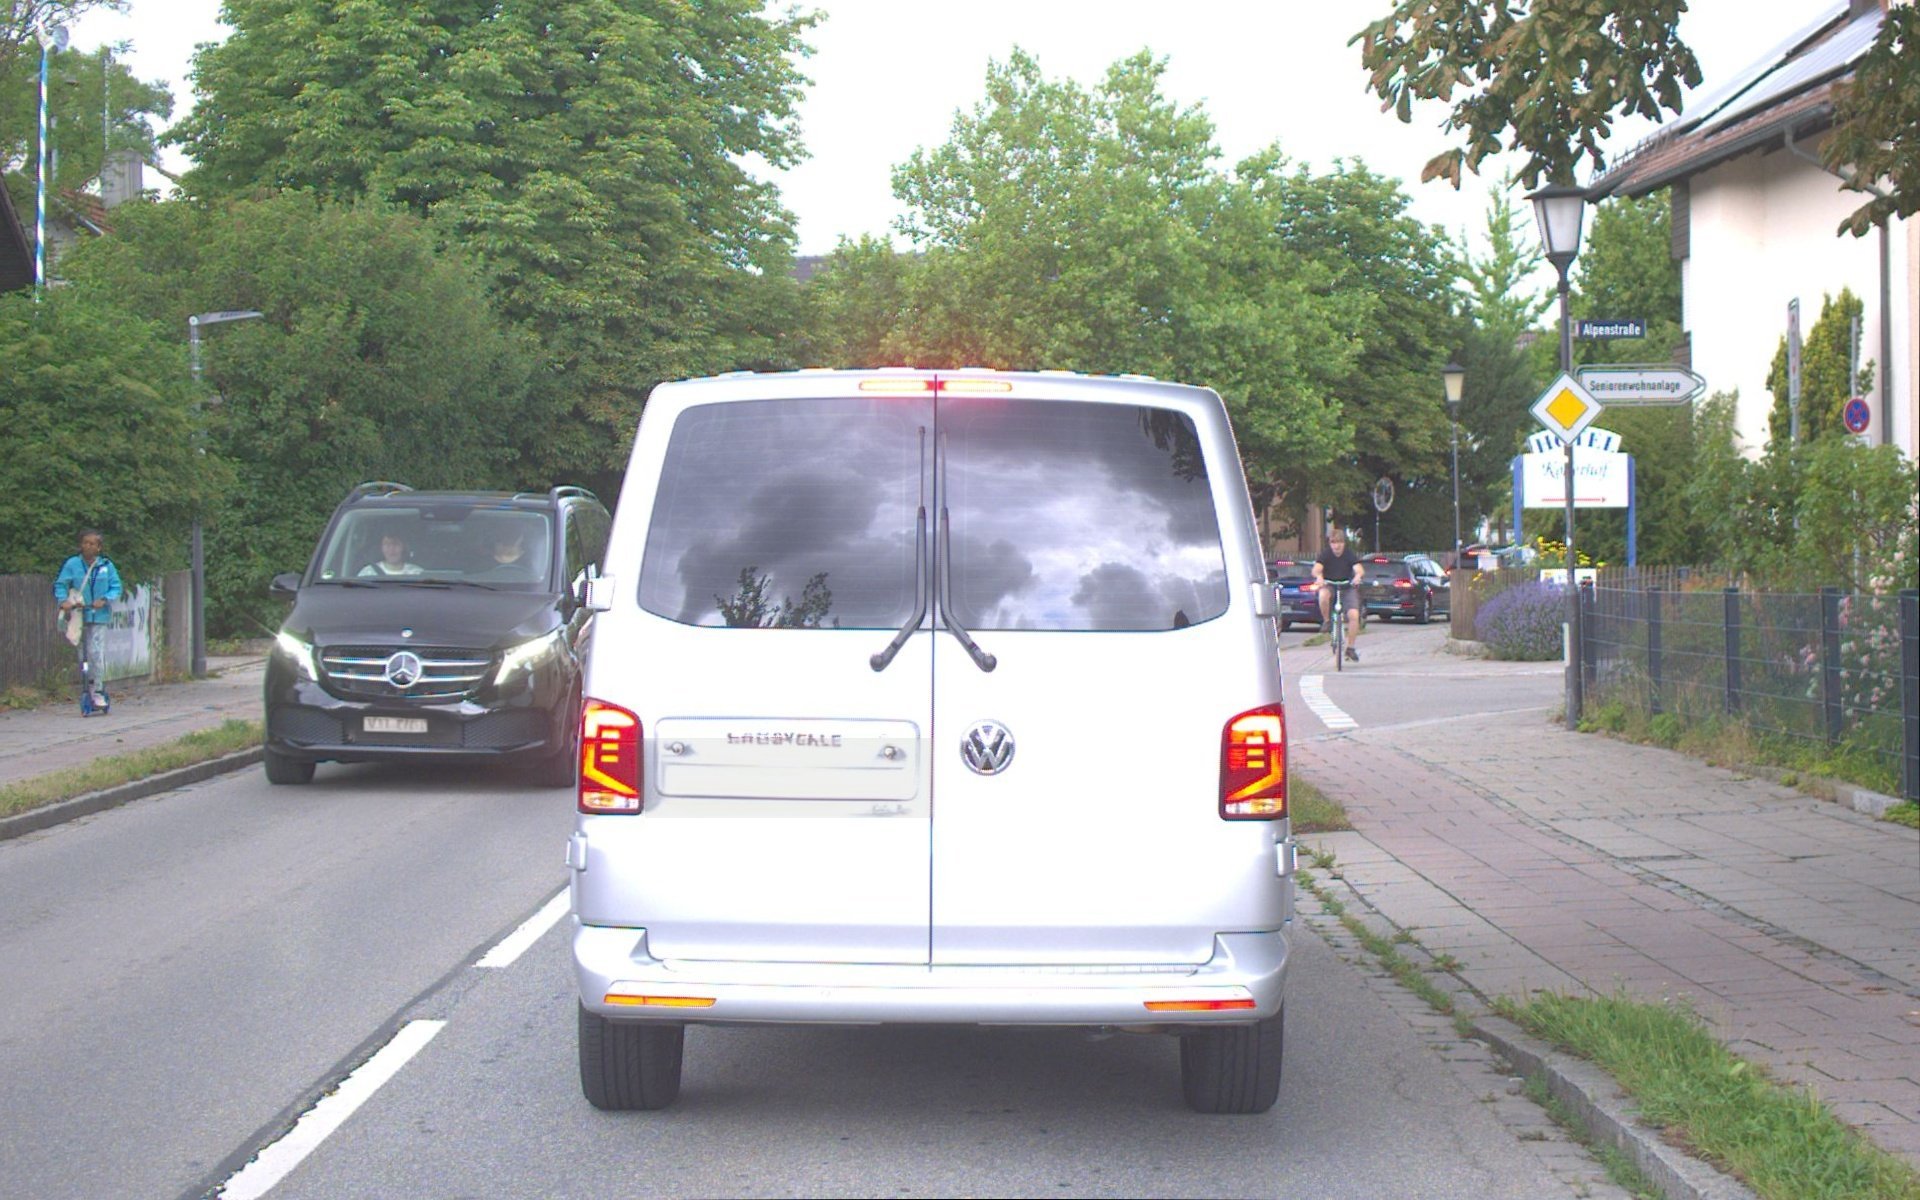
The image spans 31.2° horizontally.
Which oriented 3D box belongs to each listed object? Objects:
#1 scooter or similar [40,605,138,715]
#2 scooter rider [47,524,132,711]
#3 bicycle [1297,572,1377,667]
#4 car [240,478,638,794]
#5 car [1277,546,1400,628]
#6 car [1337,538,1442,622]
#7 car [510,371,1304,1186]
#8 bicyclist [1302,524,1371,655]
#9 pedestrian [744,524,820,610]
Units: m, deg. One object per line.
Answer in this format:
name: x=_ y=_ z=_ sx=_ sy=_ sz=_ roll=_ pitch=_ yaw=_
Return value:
scooter or similar: x=-6.998 y=0.471 z=27.658 sx=0.521 sy=0.847 sz=1.061 roll=0 pitch=1 yaw=0
scooter rider: x=-6.998 y=0.134 z=27.653 sx=0.502 sy=1.484 sz=0.716 roll=0 pitch=1 yaw=0
bicycle: x=4.704 y=0.231 z=42.985 sx=0.764 sy=1.139 sz=1.845 roll=0 pitch=1 yaw=-1
car: x=-3.340 y=0.175 z=22.996 sx=1.964 sy=1.847 sz=4.948 roll=1 pitch=1 yaw=-1
car: x=7.380 y=-0.271 z=66.729 sx=1.882 sy=1.530 sz=3.918 roll=0 pitch=1 yaw=14
car: x=9.240 y=-0.455 z=73.746 sx=1.882 sy=1.742 sz=4.078 roll=0 pitch=1 yaw=12
car: x=-0.109 y=0.396 z=10.139 sx=1.881 sy=1.934 sz=3.921 roll=0 pitch=1 yaw=1
bicyclist: x=4.703 y=-0.135 z=42.993 sx=0.736 sy=1.627 sz=0.890 roll=0 pitch=1 yaw=-2
pedestrian: x=-3.760 y=-0.708 z=72.605 sx=1.318 sy=1.796 sz=1.069 roll=0 pitch=1 yaw=-22
